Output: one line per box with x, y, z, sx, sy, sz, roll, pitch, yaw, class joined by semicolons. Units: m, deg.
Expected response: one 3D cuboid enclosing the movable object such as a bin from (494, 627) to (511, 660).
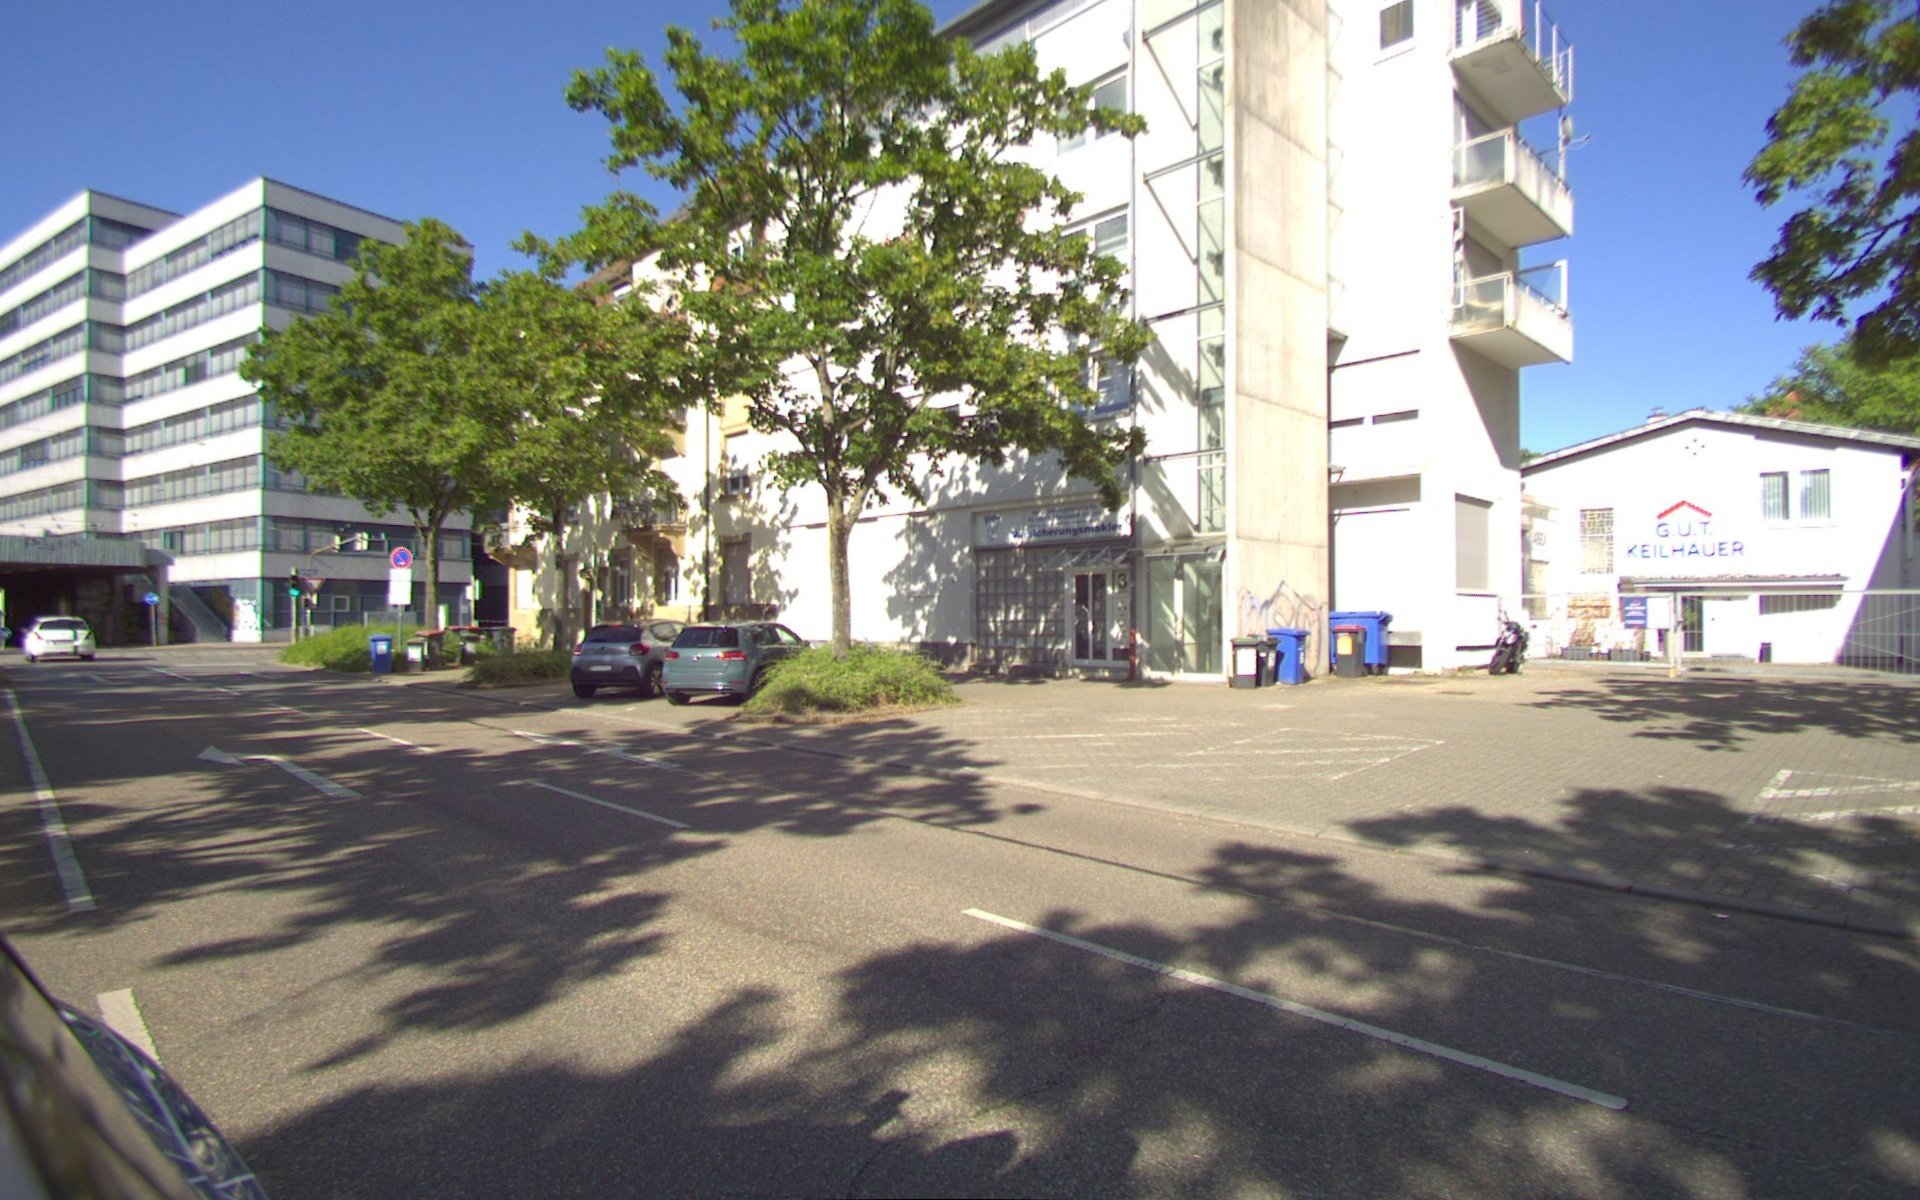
-15.105;1.439;33.401;0.469;1.070;0.551;1;-2;-20;movable object such as a bin

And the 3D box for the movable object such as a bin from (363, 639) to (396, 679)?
-15.961;1.608;27.843;0.665;1.082;0.805;1;-1;-20;movable object such as a bin

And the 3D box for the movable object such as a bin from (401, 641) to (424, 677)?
-15.182;1.631;28.055;0.469;0.967;0.544;-1;0;-20;movable object such as a bin

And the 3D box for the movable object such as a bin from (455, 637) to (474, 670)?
-14.865;1.603;30.369;0.469;0.951;0.544;1;-2;-20;movable object such as a bin

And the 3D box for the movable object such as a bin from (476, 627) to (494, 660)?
-15.605;1.432;33.226;0.469;1.070;0.551;1;-2;-20;movable object such as a bin

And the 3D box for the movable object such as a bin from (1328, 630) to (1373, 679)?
7.977;1.096;20.656;0.690;0.980;0.613;-1;-2;41;movable object such as a bin

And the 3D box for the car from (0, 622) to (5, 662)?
-39.895;1.654;39.536;4.032;1.565;1.920;0;-1;15;car

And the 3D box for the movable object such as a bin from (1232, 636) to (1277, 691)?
5.274;1.125;18.126;0.575;0.935;0.613;-1;-2;41;movable object such as a bin

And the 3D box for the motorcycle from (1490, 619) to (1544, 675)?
11.887;0.986;21.572;0.527;1.143;1.891;-1;-2;44;motorcycle

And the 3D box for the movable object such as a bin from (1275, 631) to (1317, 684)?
6.370;1.082;19.173;0.575;0.980;0.613;-1;-2;41;movable object such as a bin

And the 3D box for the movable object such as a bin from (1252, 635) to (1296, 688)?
5.779;1.124;18.645;0.575;0.935;0.613;-1;-2;41;movable object such as a bin

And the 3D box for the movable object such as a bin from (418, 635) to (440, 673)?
-15.214;1.544;28.984;0.469;1.048;0.544;-1;0;-20;movable object such as a bin

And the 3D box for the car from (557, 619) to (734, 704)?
-6.289;1.175;20.718;1.792;1.475;3.986;-1;0;11;car

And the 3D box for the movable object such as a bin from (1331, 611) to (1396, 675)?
8.485;0.894;21.299;1.120;1.289;0.613;-1;-2;41;movable object such as a bin

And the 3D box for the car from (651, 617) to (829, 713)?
-3.912;1.109;18.738;1.792;1.475;3.986;-1;0;11;car

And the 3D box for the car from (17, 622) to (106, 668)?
-30.641;1.483;34.468;3.756;1.462;1.902;-1;-2;43;car
